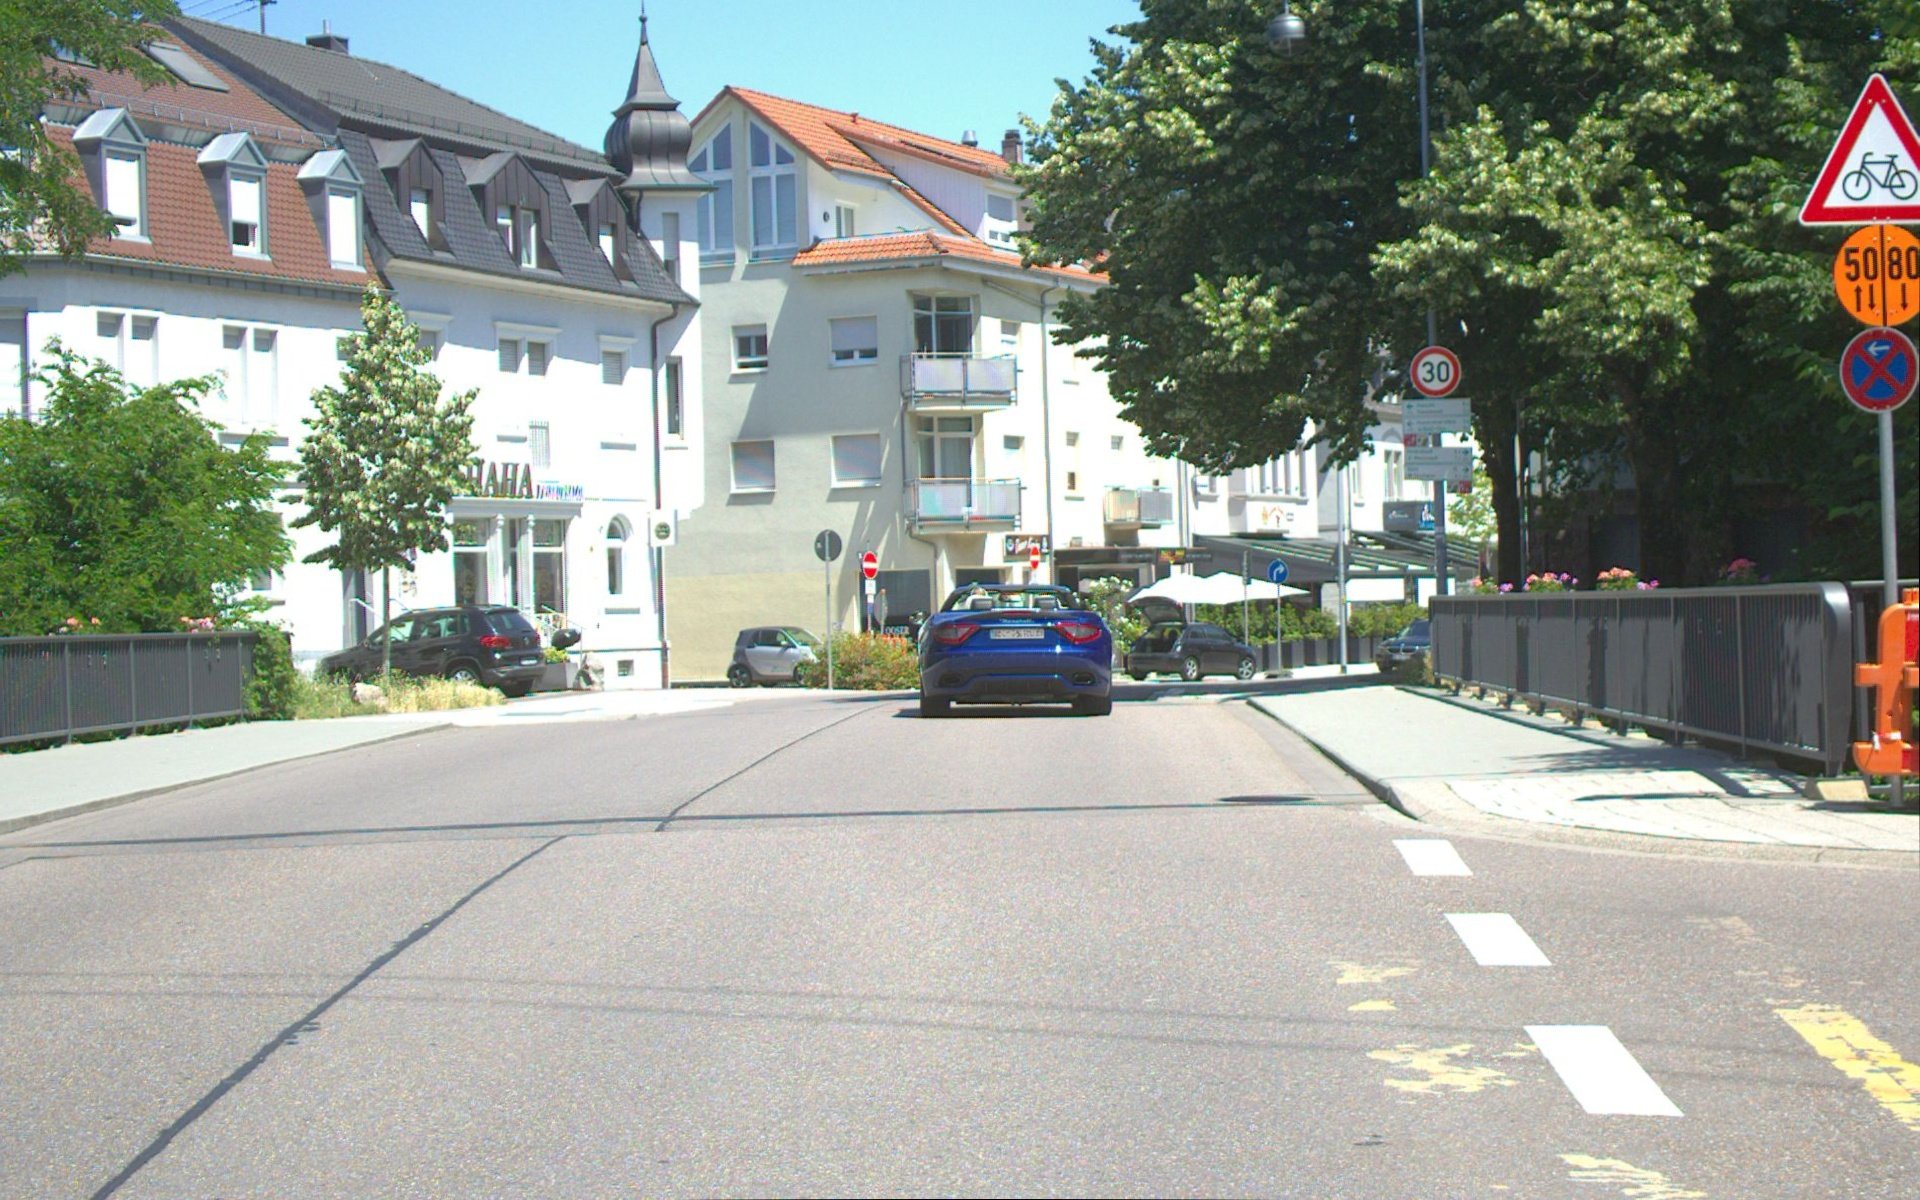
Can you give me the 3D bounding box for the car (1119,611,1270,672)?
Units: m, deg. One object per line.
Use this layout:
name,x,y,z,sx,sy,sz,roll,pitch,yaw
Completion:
car,5.808,1.022,84.779,1.716,1.456,4.120,1,0,37

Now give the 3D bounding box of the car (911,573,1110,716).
car,0.534,0.424,34.942,1.871,1.337,4.596,-1,0,1

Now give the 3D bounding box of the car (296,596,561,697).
car,-9.365,0.818,60.615,4.185,1.656,1.968,-2,-1,23

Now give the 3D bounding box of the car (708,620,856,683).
car,-4.466,1.286,86.483,3.266,1.453,1.690,-2,0,23

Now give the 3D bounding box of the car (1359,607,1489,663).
car,12.632,0.927,93.402,1.837,1.425,4.775,0,0,30
